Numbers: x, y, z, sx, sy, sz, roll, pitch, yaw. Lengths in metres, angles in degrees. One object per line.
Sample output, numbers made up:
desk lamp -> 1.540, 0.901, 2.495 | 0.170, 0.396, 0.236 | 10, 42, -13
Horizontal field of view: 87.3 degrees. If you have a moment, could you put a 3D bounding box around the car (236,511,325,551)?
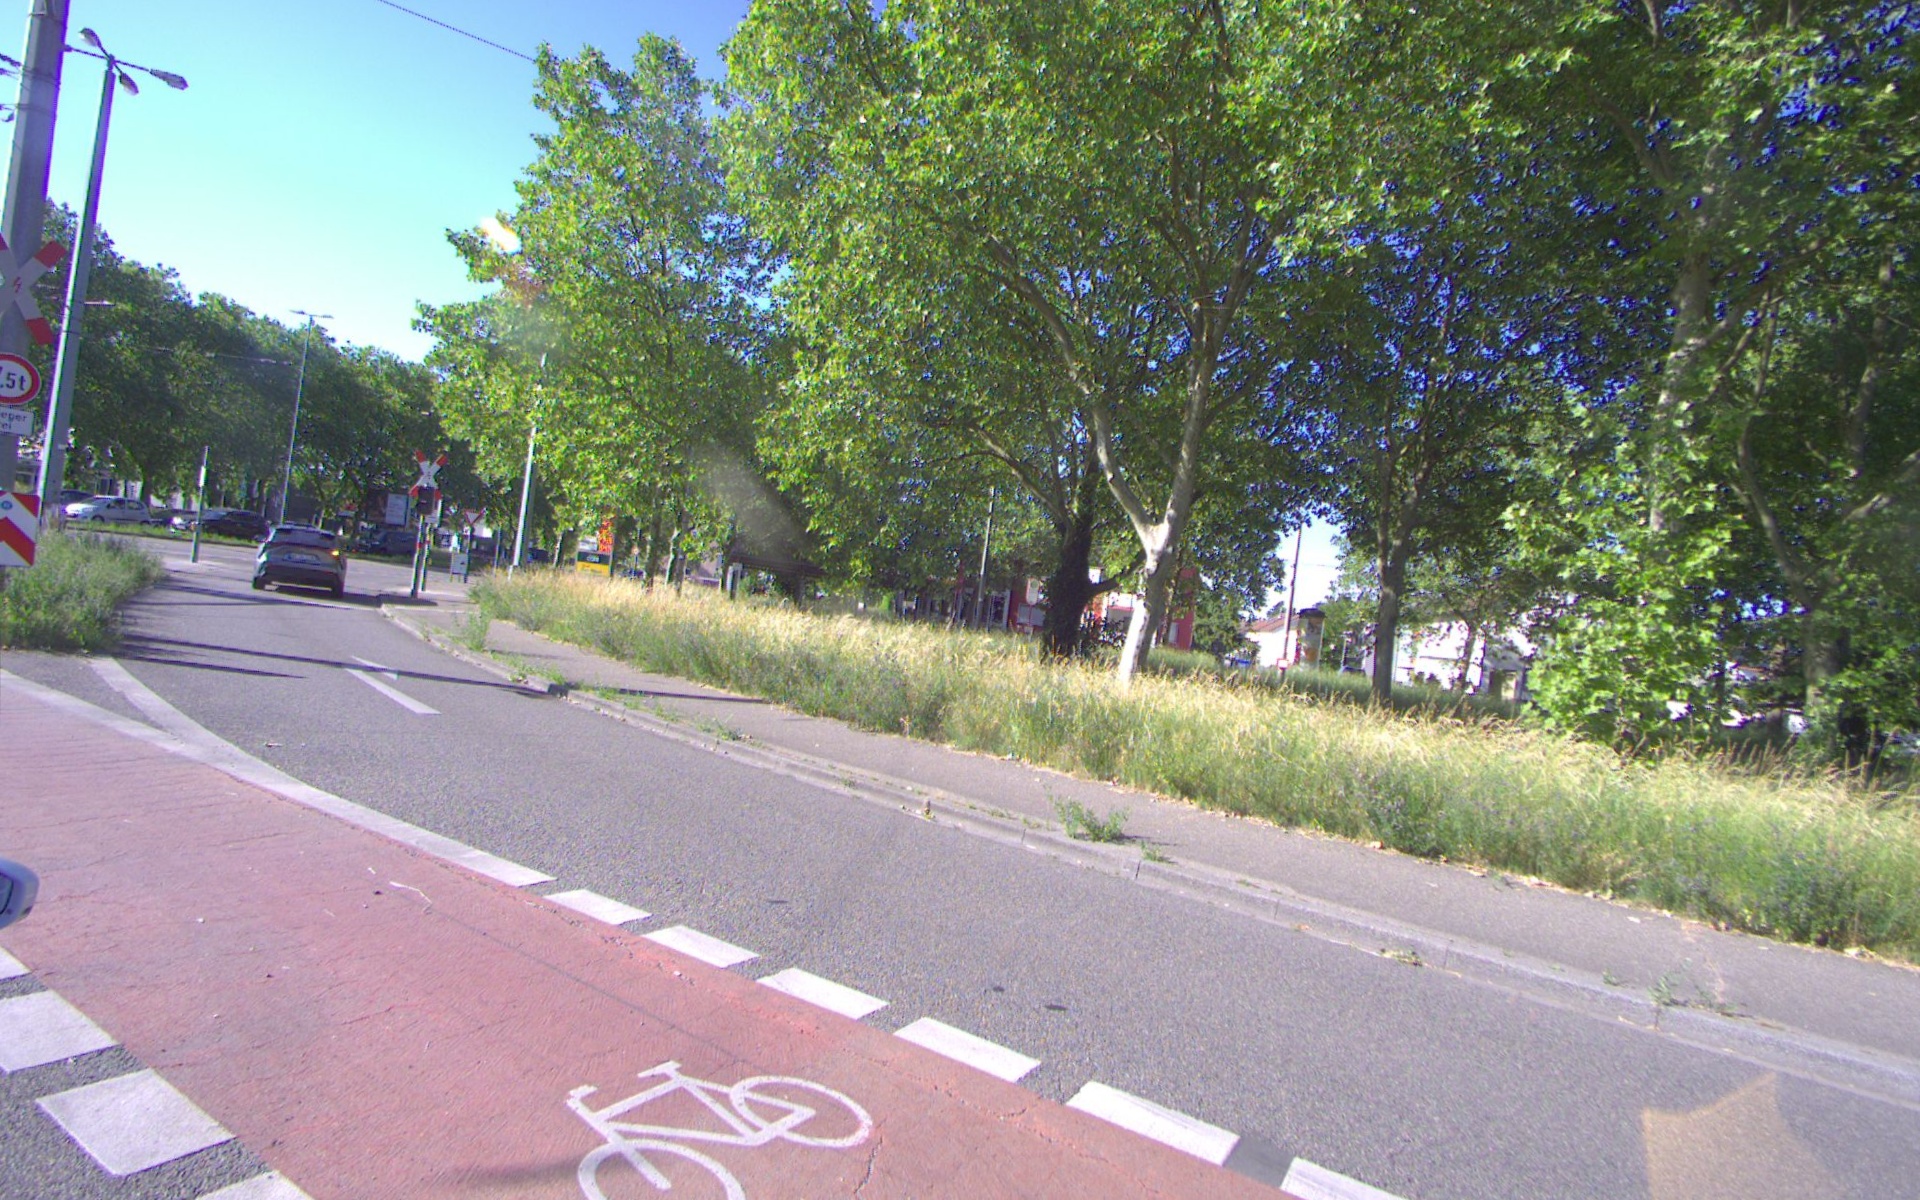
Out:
car -> -42.229, -4.273, 62.658 | 1.873, 1.701, 4.781 | 7, -2, 4

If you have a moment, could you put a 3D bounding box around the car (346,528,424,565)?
car -> -44.044, -4.068, 77.143 | 2.090, 2.095, 5.124 | 8, -1, 13

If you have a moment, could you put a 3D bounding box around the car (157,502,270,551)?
car -> -36.763, -3.579, 49.696 | 1.885, 1.732, 4.497 | 7, -1, 4

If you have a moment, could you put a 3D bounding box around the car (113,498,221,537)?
car -> -43.009, -4.426, 54.710 | 1.898, 1.425, 4.572 | 7, -1, 5

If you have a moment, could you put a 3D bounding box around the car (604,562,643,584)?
car -> -32.497, -2.578, 97.208 | 1.962, 1.637, 4.002 | 7, -1, 5

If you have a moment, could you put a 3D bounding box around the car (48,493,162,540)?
car -> -40.520, -3.910, 47.783 | 1.680, 1.620, 3.862 | 7, -1, 7

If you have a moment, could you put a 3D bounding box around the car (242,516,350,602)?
car -> -16.392, -1.035, 25.014 | 1.808, 1.724, 3.744 | 9, -1, -30

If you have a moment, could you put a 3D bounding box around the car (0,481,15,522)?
car -> -41.094, -4.284, 40.551 | 1.782, 1.620, 4.093 | 7, -1, 7

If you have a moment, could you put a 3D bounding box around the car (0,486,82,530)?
car -> -44.457, -4.424, 47.899 | 1.681, 1.620, 3.861 | 7, -1, 3
